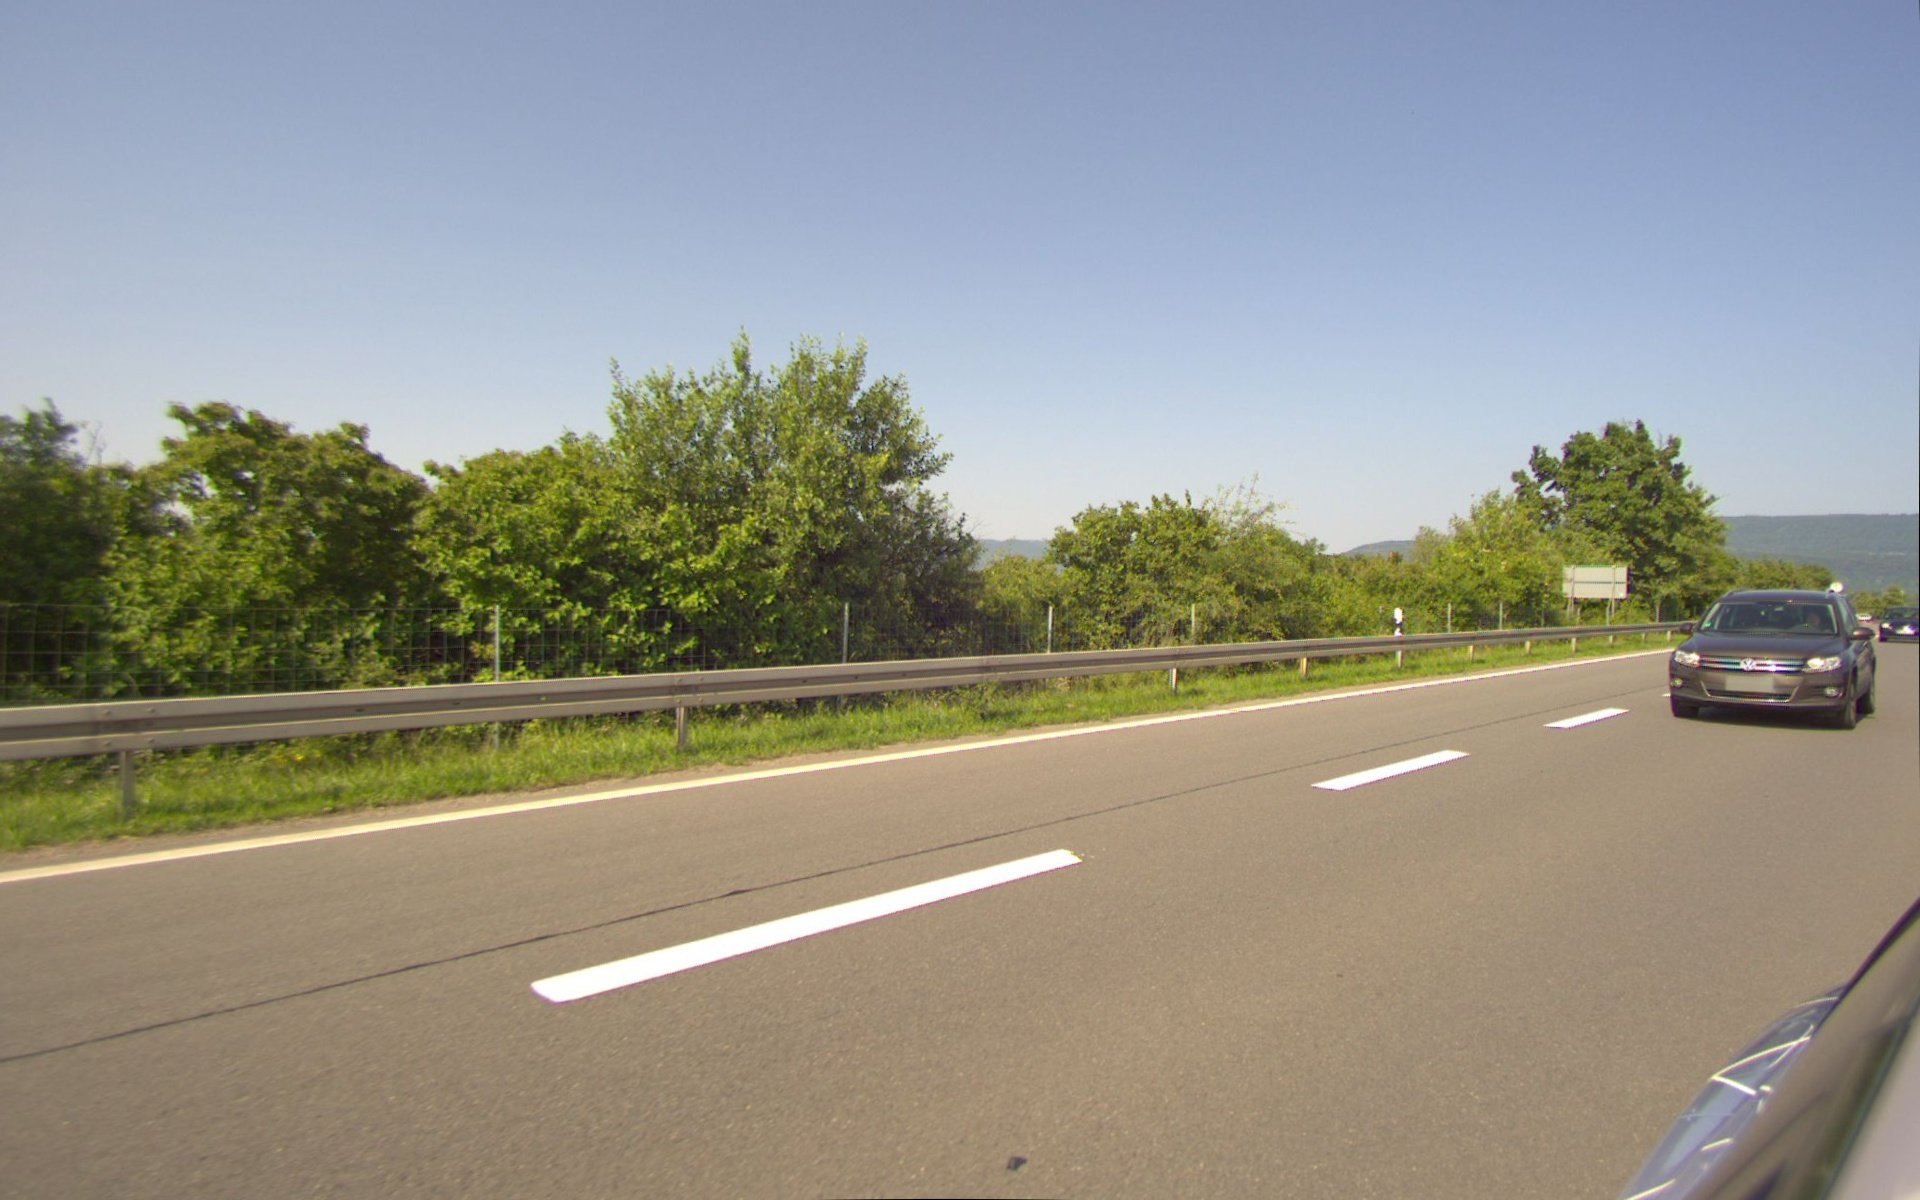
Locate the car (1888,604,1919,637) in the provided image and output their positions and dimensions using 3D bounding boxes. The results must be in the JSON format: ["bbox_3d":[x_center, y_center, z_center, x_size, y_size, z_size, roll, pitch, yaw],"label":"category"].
[{"bbox_3d":[38.054,0.782,40.175,3.935,1.264,1.597,0,0,-45],"label":"car"}]

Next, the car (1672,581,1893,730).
[{"bbox_3d":[10.932,0.611,13.343,4.079,1.667,1.787,0,0,-44],"label":"car"}]

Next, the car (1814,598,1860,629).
[{"bbox_3d":[50.504,0.760,58.344,1.856,1.687,3.943,0,0,39],"label":"car"}]
